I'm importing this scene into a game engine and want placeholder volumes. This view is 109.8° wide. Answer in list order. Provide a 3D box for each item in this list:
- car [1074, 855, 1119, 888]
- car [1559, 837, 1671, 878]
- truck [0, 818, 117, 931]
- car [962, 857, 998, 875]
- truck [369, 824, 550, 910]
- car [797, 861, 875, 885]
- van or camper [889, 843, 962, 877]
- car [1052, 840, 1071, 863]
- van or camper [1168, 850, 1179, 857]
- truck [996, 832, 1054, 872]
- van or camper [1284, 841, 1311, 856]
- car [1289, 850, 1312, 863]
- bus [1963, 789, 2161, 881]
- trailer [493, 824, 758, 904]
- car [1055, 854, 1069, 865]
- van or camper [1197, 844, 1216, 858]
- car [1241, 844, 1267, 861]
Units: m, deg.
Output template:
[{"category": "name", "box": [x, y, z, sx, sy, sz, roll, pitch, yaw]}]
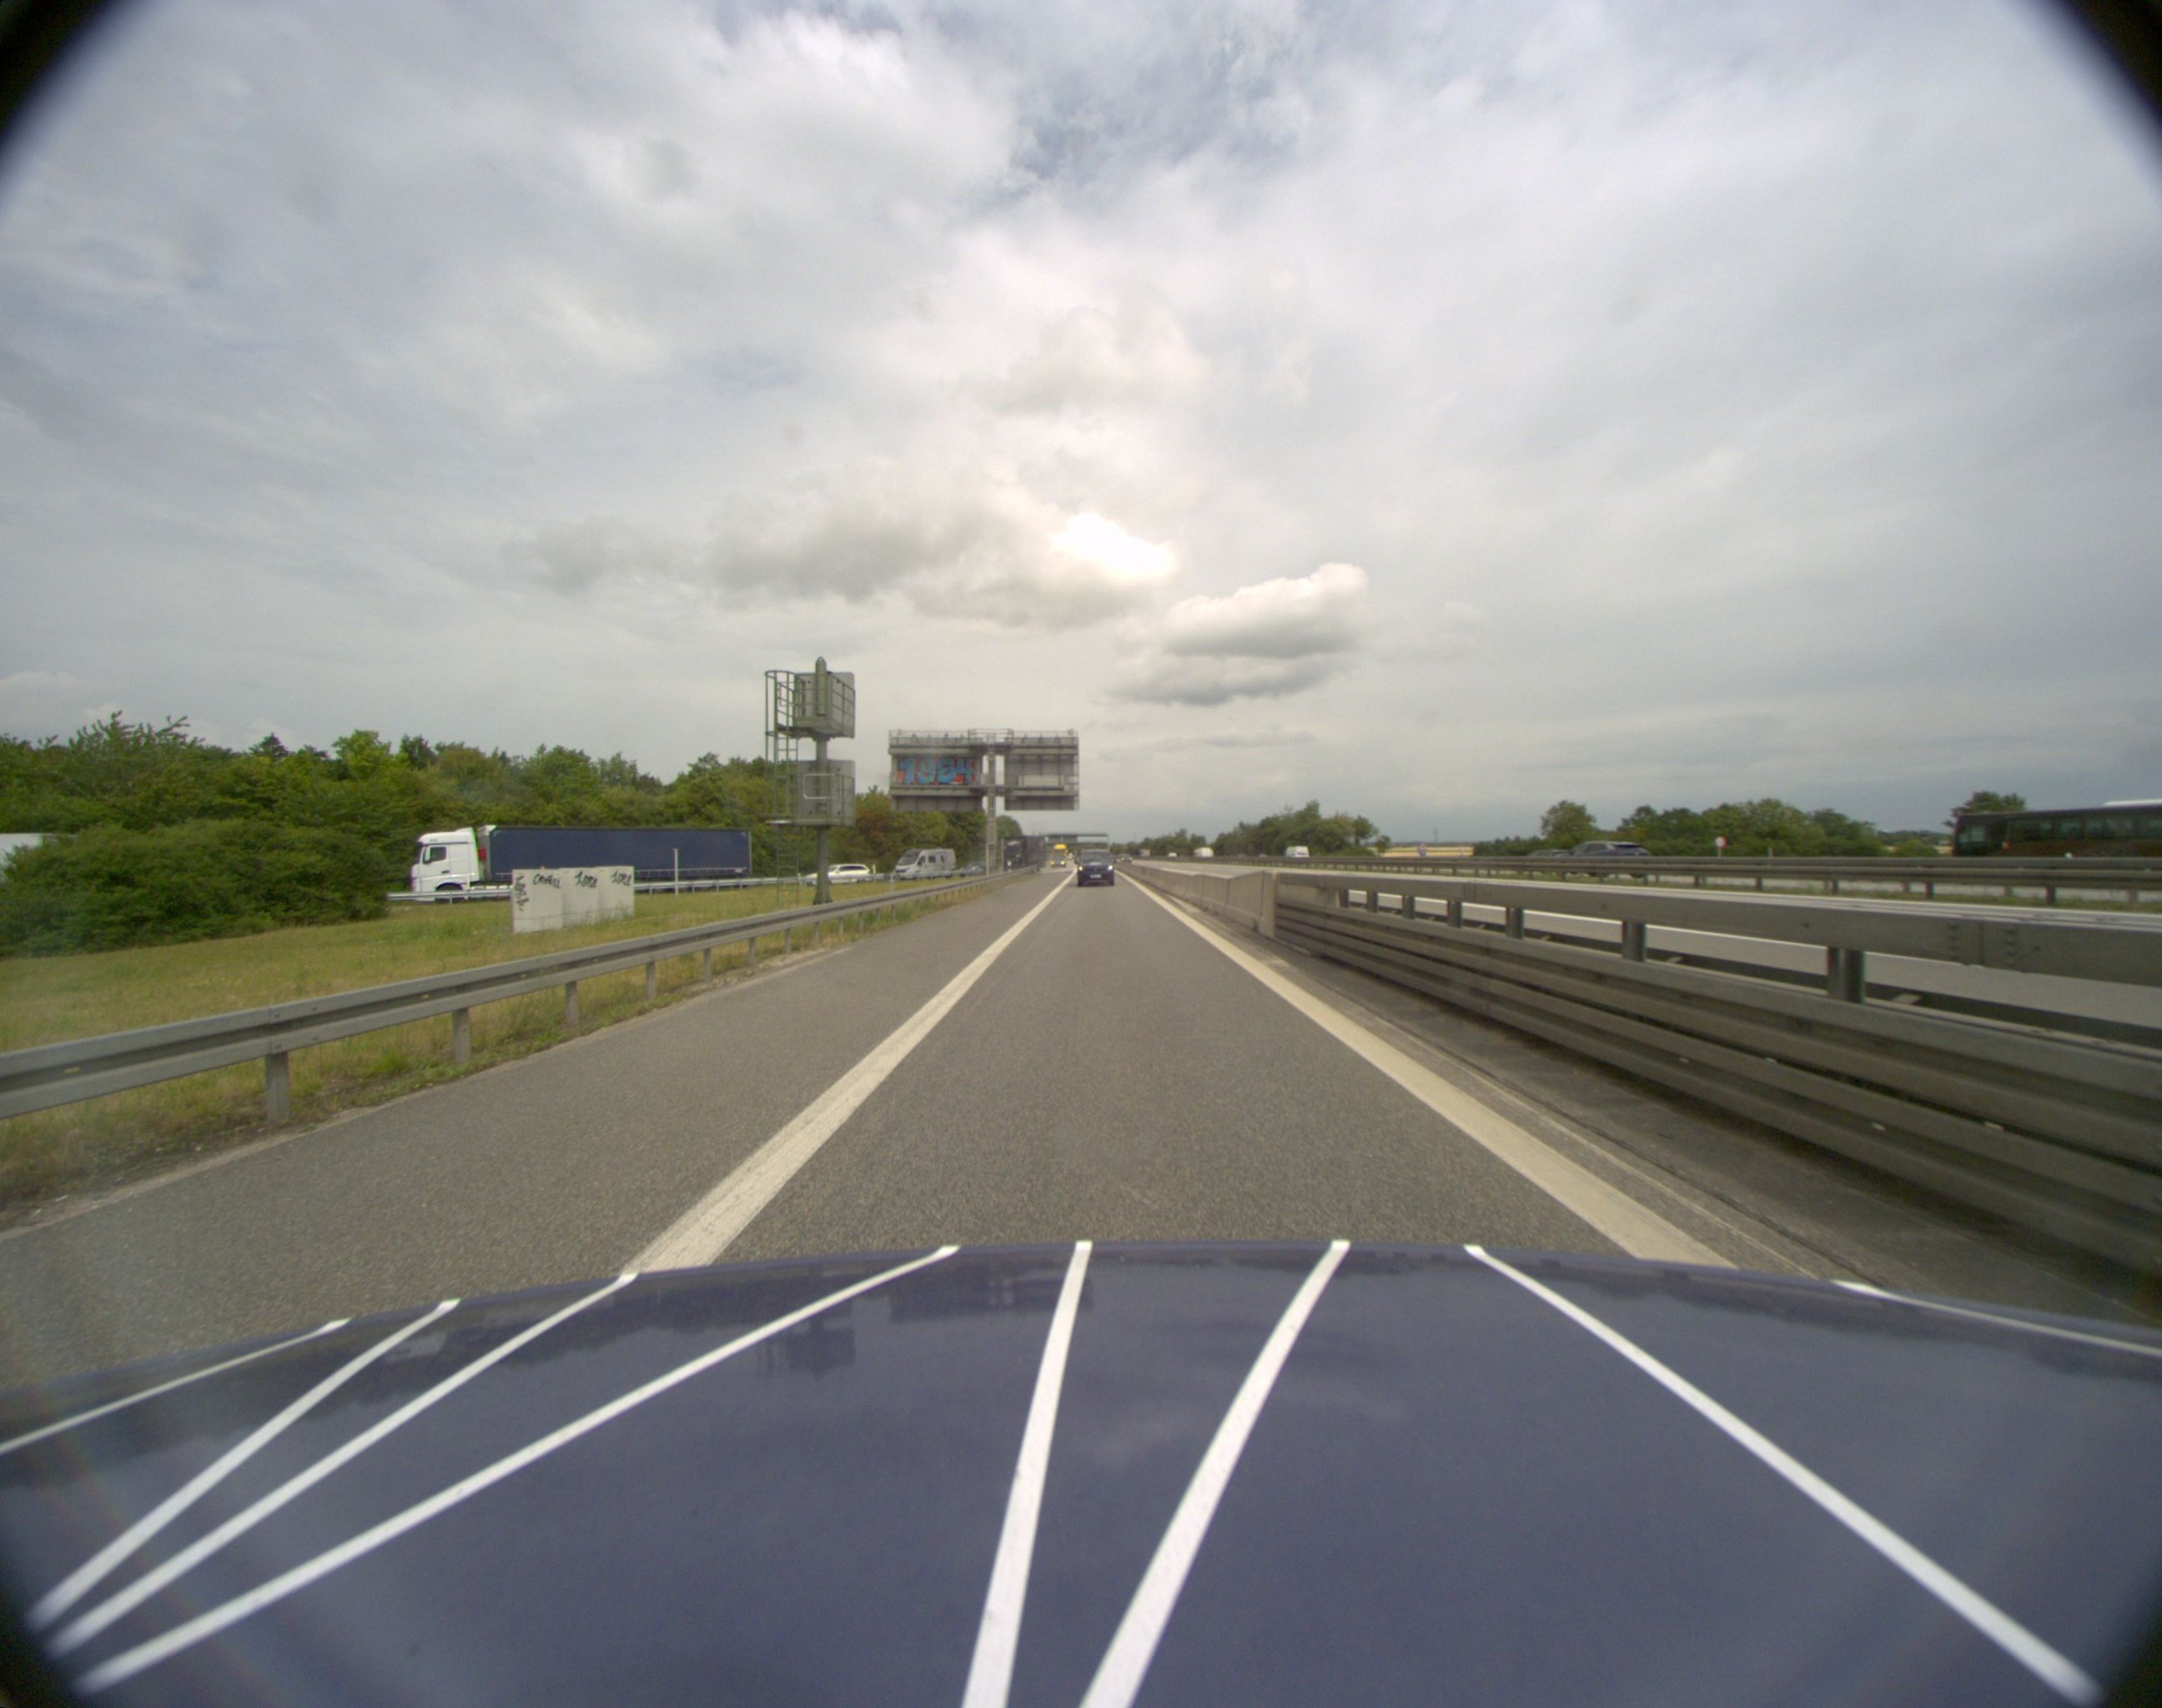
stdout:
[{"category": "car", "box": [0.672, 0.805, 36.450, 1.866, 1.433, 3.999, -2, 0, -3]}, {"category": "car", "box": [23.555, 0.153, 33.709, 1.999, 1.652, 3.999, -2, 0, -3]}, {"category": "truck", "box": [-47.202, 0.985, 30.993, 9.002, 4.589, 3.276, -3, 1, -27]}, {"category": "car", "box": [-9.110, 1.082, 68.820, 1.731, 1.411, 3.670, -2, 1, 20]}, {"category": "truck", "box": [-32.272, 0.588, 39.669, 3.361, 4.071, 6.802, -1, 1, 43]}, {"category": "car", "box": [-17.235, 1.326, 53.696, 2.207, 1.492, 4.797, -1, 1, 37]}, {"category": "van or camper", "box": [-12.410, 0.462, 61.158, 2.295, 2.553, 6.171, -1, 0, 28]}, {"category": "car", "box": [-3.987, -0.561, 161.180, 3.394, 4.457, 11.606, -2, 0, 1]}, {"category": "van or camper", "box": [23.003, -0.092, 188.807, 1.999, 1.818, 4.347, -2, 0, -1]}, {"category": "truck", "box": [-5.780, -0.212, 81.267, 3.021, 3.931, 10.350, -2, 0, 14]}, {"category": "van or camper", "box": [34.259, -0.868, 120.431, 2.193, 2.159, 5.808, -2, 0, -3]}, {"category": "car", "box": [25.787, 0.282, 89.298, 1.527, 1.455, 4.000, -2, 0, 0]}, {"category": "bus", "box": [41.642, -0.764, 27.757, 3.223, 3.422, 12.987, -2, 0, -3]}, {"category": "trailer", "box": [-26.679, 0.410, 45.516, 3.332, 4.169, 13.058, -1, 1, 44]}, {"category": "car", "box": [-2.626, 0.704, 103.646, 1.866, 1.433, 3.999, -2, 0, -3]}, {"category": "van or camper", "box": [24.760, -0.531, 149.842, 2.193, 2.604, 6.903, -2, 0, -2]}, {"category": "car", "box": [21.275, -0.215, 93.707, 1.999, 2.002, 3.998, -2, 0, -3]}]
